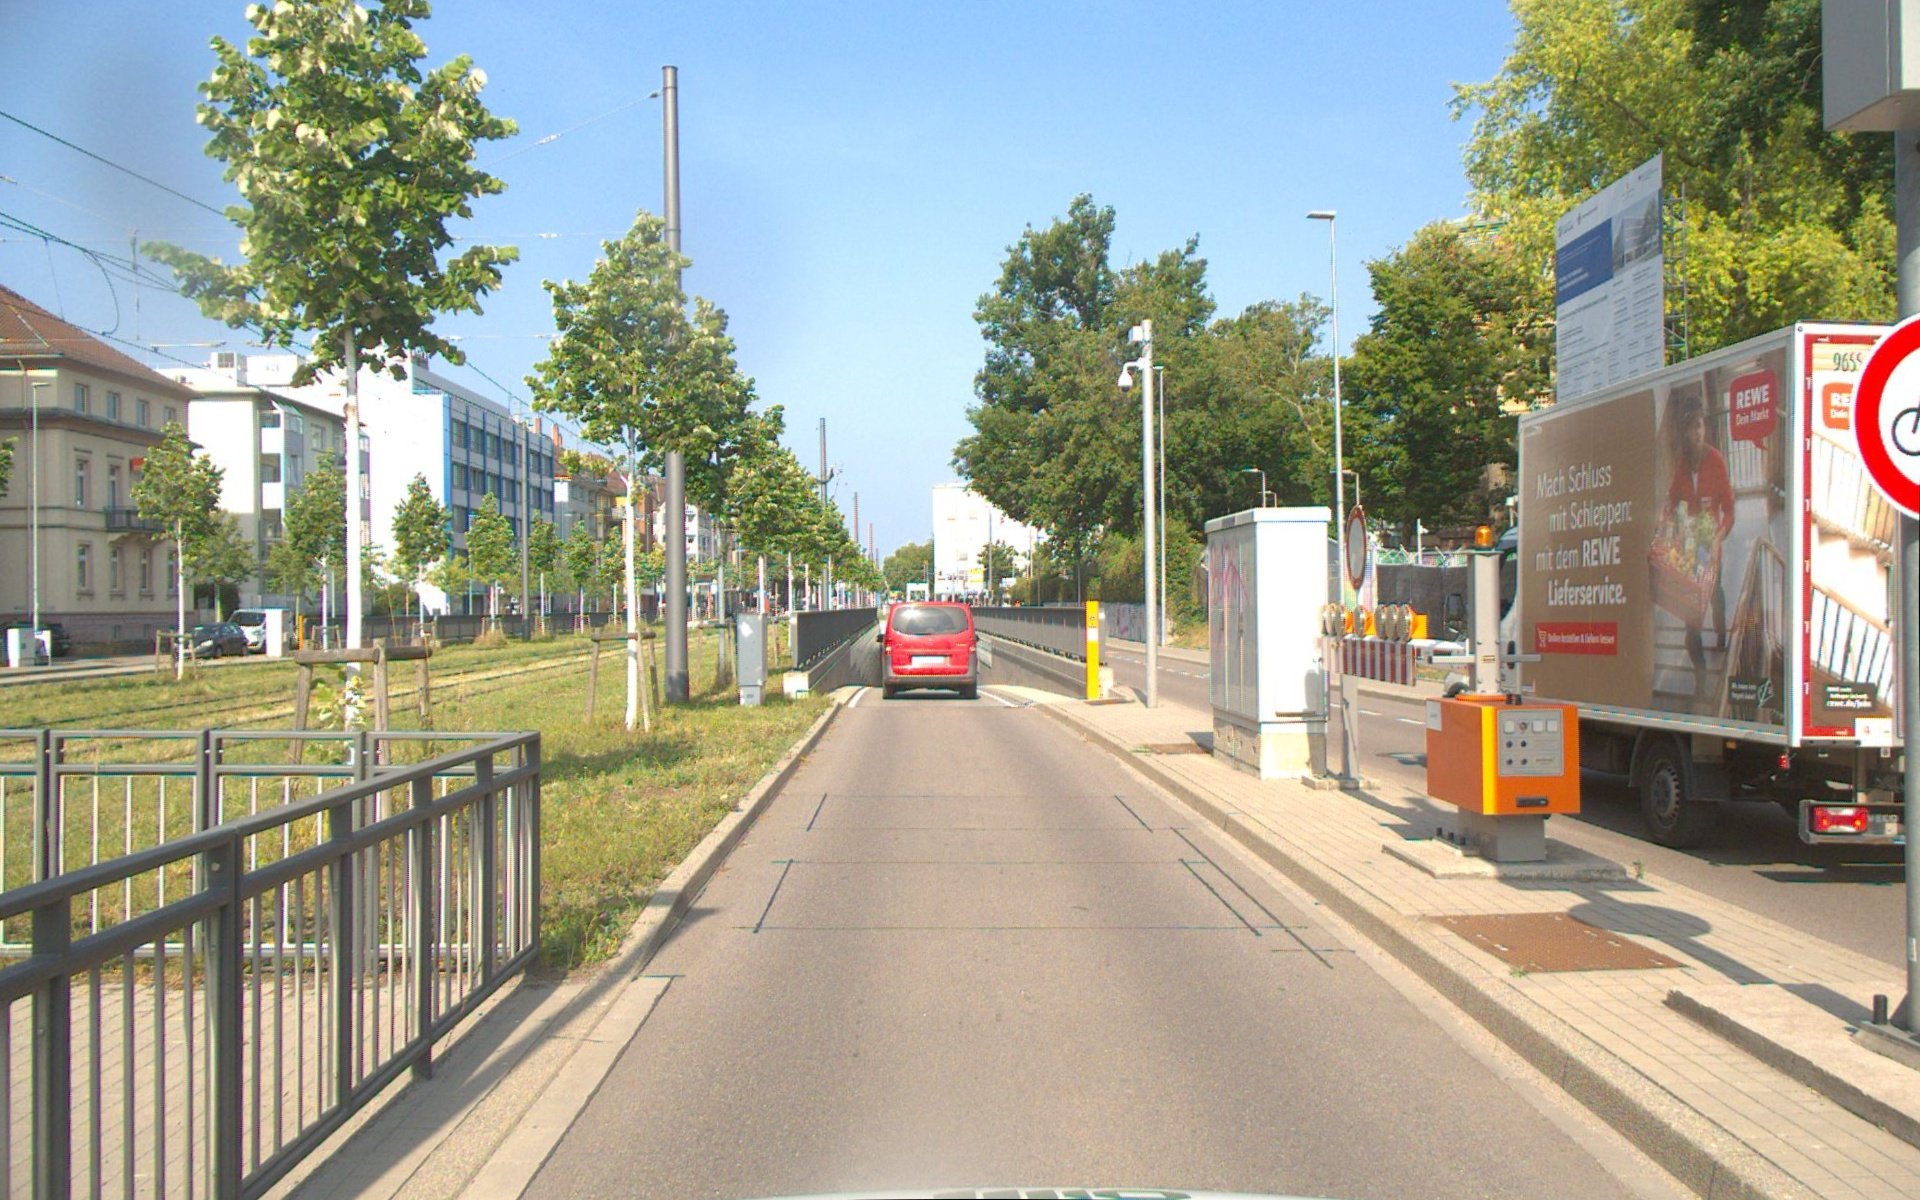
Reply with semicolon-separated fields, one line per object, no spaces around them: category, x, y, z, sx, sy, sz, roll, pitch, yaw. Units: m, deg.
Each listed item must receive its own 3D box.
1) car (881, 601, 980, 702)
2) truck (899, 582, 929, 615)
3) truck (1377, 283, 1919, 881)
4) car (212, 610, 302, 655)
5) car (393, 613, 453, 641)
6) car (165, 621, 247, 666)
car;-0.567;0.978;33.315;1.862;1.892;4.000;1;0;0
truck;-5.551;-0.138;197.965;3.323;3.791;10.446;-1;0;-2
truck;5.536;-0.036;12.595;2.452;3.114;7.816;1;-1;-2
car;-33.602;1.602;79.219;2.205;2.049;5.259;1;-2;-3
car;-30.082;1.504;92.763;1.953;1.492;4.436;-1;0;-2
car;-28.542;1.618;62.743;1.488;1.489;3.822;-1;1;-3
